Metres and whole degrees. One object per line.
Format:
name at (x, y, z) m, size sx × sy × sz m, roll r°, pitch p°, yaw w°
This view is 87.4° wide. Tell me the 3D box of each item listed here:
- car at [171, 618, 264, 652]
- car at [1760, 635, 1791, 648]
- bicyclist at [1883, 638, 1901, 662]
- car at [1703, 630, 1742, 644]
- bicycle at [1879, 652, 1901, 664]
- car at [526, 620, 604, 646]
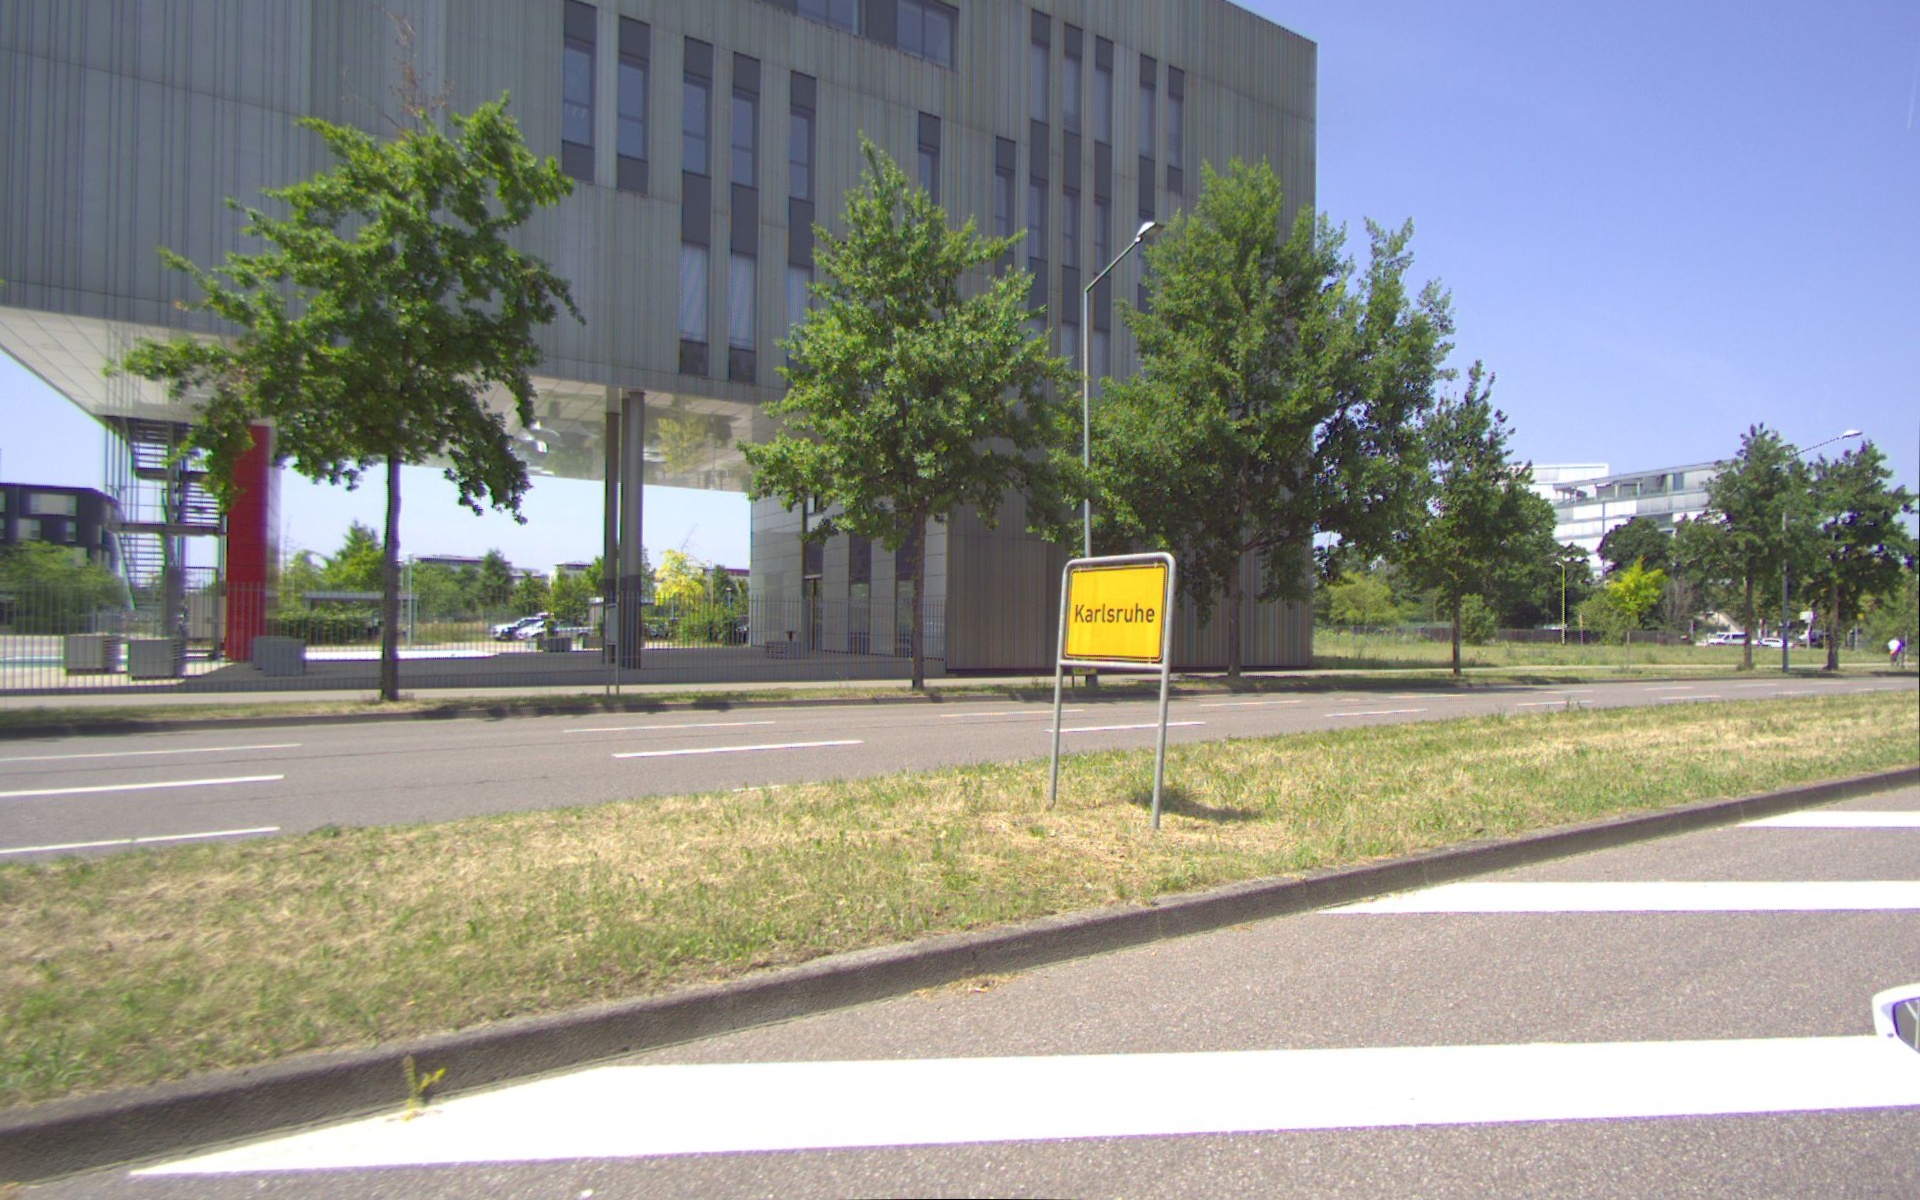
car at (-38.973, 1.846, 52.822) m, size 3.730 × 1.719 × 1.649 m, roll 1°, pitch -1°, yaw -30°
car at (137.226, 6.961, 169.061) m, size 3.939 × 1.837 × 1.994 m, roll 0°, pitch -9°, yaw 39°
bicyclist at (59.108, 3.171, 63.697) m, size 0.747 × 1.509 × 0.620 m, roll 1°, pitch -1°, yaw -28°
car at (109.527, 5.279, 144.302) m, size 4.205 × 1.903 × 2.000 m, roll 1°, pitch -1°, yaw -1°
bicycle at (58.932, 3.697, 63.625) m, size 1.827 × 0.725 × 0.479 m, roll 1°, pitch -1°, yaw -28°
car at (-25.023, 2.059, 63.618) m, size 4.464 × 1.603 × 2.016 m, roll 1°, pitch -1°, yaw -27°
